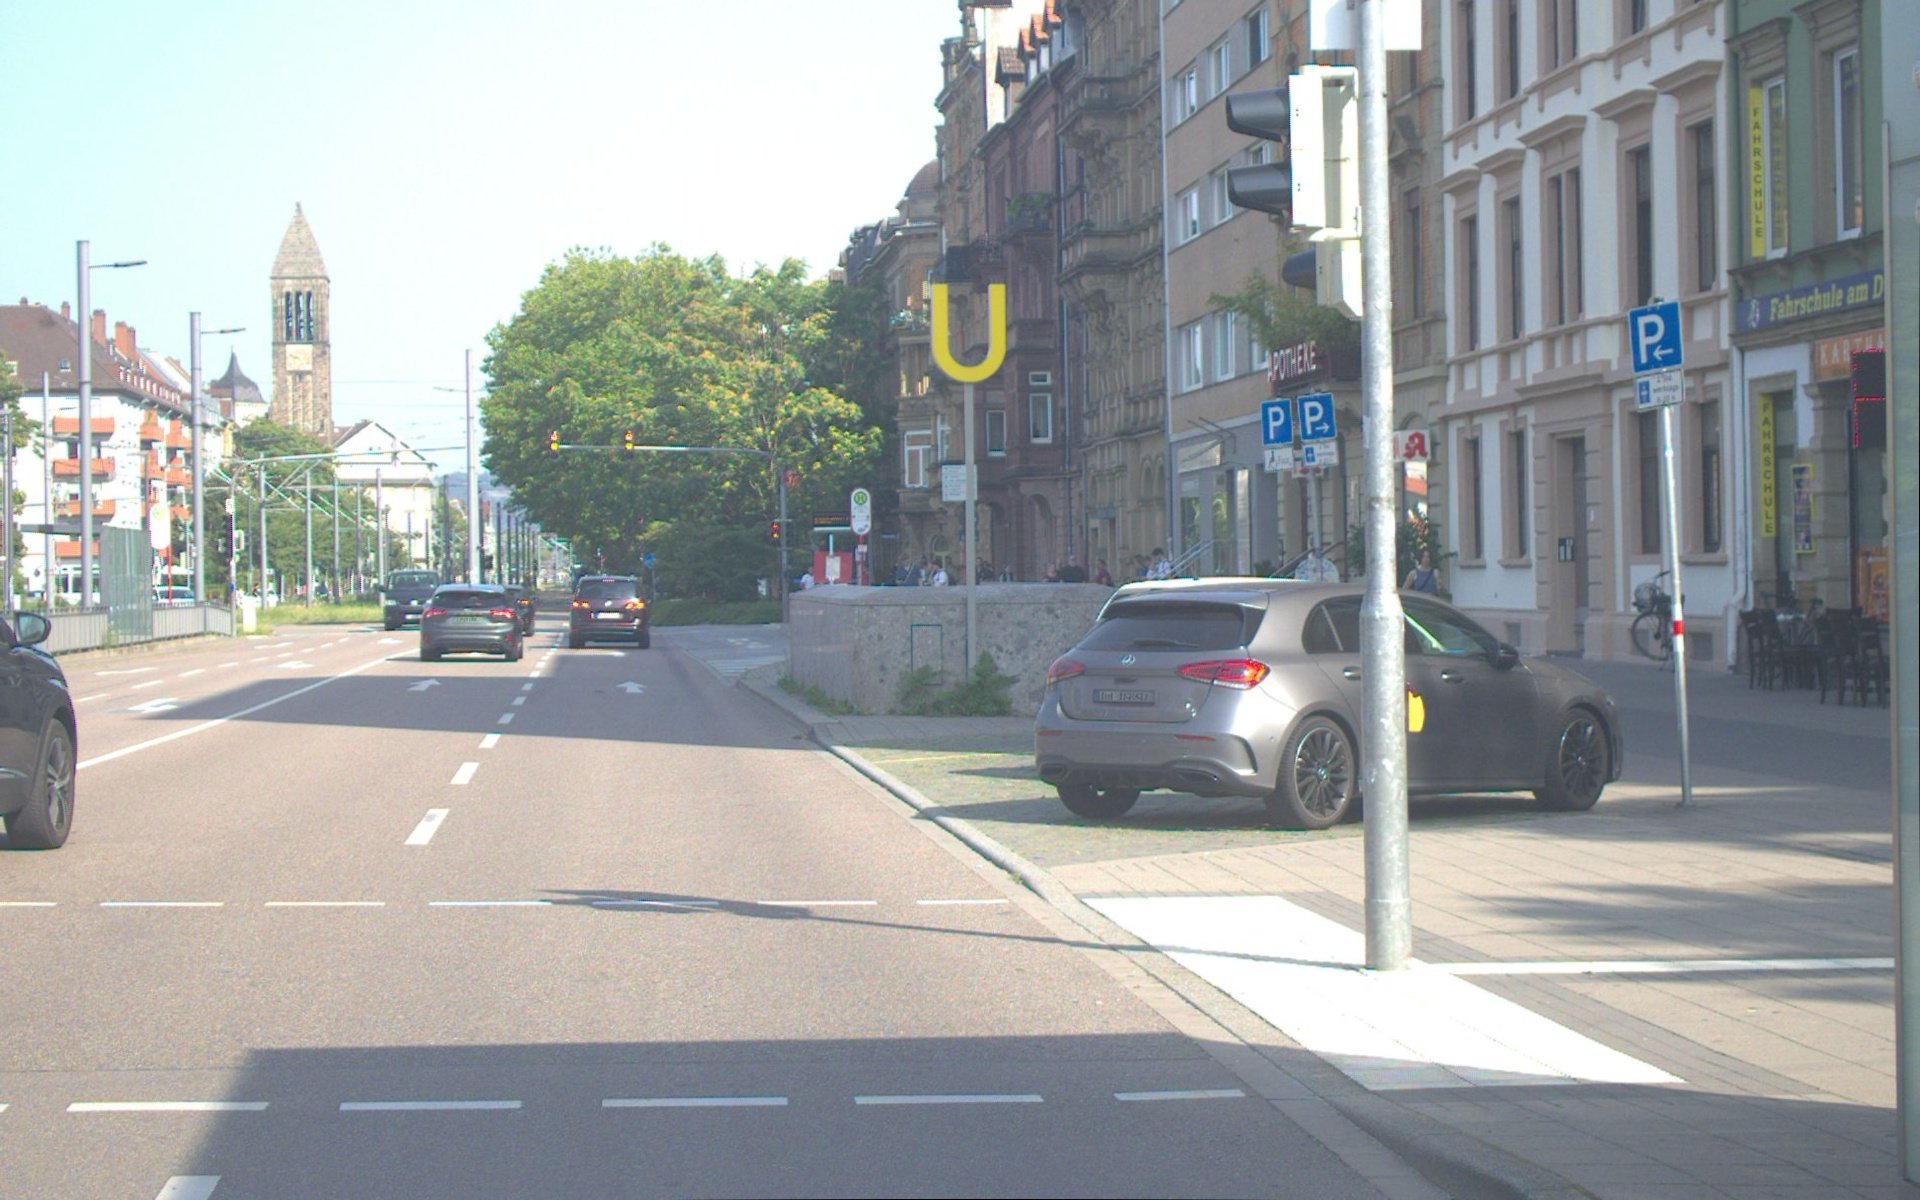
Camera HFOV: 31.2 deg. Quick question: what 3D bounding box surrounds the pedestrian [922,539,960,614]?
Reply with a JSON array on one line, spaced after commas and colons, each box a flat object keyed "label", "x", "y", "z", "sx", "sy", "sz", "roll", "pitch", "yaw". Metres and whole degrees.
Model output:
[{"label": "pedestrian", "x": -0.451, "y": -0.555, "z": 79.887, "sx": 0.749, "sy": 1.723, "sz": 0.801, "roll": -1, "pitch": 1, "yaw": -9}]

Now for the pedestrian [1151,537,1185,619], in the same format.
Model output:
[{"label": "pedestrian", "x": 4.698, "y": -0.505, "z": 77.779, "sx": 0.603, "sy": 1.825, "sz": 0.742, "roll": -1, "pitch": 1, "yaw": -9}]

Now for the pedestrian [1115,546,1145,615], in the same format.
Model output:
[{"label": "pedestrian", "x": 4.190, "y": -0.475, "z": 84.606, "sx": 0.603, "sy": 1.686, "sz": 0.587, "roll": -1, "pitch": 1, "yaw": -9}]

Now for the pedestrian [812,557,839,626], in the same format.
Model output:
[{"label": "pedestrian", "x": -3.369, "y": -0.217, "z": 86.013, "sx": 0.564, "sy": 1.723, "sz": 0.745, "roll": -1, "pitch": 1, "yaw": -9}]

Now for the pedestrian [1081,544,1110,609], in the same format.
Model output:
[{"label": "pedestrian", "x": 3.448, "y": -0.598, "z": 87.374, "sx": 0.603, "sy": 1.649, "sz": 0.587, "roll": -1, "pitch": 1, "yaw": -9}]

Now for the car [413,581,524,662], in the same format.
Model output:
[{"label": "car", "x": -9.210, "y": 0.381, "z": 64.630, "sx": 1.863, "sy": 1.419, "sz": 4.358, "roll": 1, "pitch": 1, "yaw": -6}]

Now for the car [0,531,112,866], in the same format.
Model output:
[{"label": "car", "x": -5.631, "y": 0.490, "z": 16.575, "sx": 1.993, "sy": 1.615, "sz": 4.357, "roll": -1, "pitch": 1, "yaw": 0}]

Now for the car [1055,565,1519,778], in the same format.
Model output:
[{"label": "car", "x": 2.472, "y": 0.480, "z": 25.484, "sx": 1.622, "sy": 1.459, "sz": 3.519, "roll": 0, "pitch": 0, "yaw": 43}]

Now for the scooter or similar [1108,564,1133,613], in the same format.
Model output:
[{"label": "scooter or similar", "x": 3.853, "y": -0.287, "z": 82.605, "sx": 0.360, "sy": 1.159, "sz": 1.152, "roll": -1, "pitch": 1, "yaw": -8}]

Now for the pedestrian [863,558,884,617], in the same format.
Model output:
[{"label": "pedestrian", "x": -2.517, "y": -0.371, "z": 99.773, "sx": 0.481, "sy": 1.696, "sz": 0.703, "roll": -1, "pitch": 1, "yaw": -9}]

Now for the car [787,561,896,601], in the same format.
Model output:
[{"label": "car", "x": -4.863, "y": -0.798, "z": 140.722, "sx": 4.179, "sy": 1.558, "sz": 2.001, "roll": -1, "pitch": 1, "yaw": -10}]

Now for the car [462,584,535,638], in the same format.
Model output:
[{"label": "car", "x": -12.877, "y": 0.289, "z": 96.150, "sx": 1.863, "sy": 1.419, "sz": 4.358, "roll": 1, "pitch": 1, "yaw": -6}]

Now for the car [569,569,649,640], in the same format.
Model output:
[{"label": "car", "x": -8.288, "y": 0.080, "z": 81.295, "sx": 1.831, "sy": 1.615, "sz": 4.358, "roll": 1, "pitch": 1, "yaw": -6}]

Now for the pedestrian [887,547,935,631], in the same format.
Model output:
[{"label": "pedestrian", "x": -1.090, "y": -0.249, "z": 76.470, "sx": 0.925, "sy": 1.825, "sz": 0.801, "roll": -1, "pitch": 1, "yaw": -9}]

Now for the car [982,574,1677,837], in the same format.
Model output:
[{"label": "car", "x": 2.348, "y": 0.567, "z": 21.014, "sx": 4.397, "sy": 1.418, "sz": 1.847, "roll": -1, "pitch": 0, "yaw": -45}]

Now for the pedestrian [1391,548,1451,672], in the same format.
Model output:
[{"label": "pedestrian", "x": 6.095, "y": 0.127, "z": 45.440, "sx": 0.608, "sy": 1.623, "sz": 0.737, "roll": -1, "pitch": 0, "yaw": -5}]

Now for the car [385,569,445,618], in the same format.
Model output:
[{"label": "car", "x": -17.600, "y": -0.225, "z": 111.195, "sx": 1.740, "sy": 1.521, "sz": 3.874, "roll": -1, "pitch": 1, "yaw": -7}]

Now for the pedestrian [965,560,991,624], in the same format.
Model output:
[{"label": "pedestrian", "x": 0.507, "y": -0.226, "z": 97.039, "sx": 0.617, "sy": 1.798, "sz": 1.072, "roll": -1, "pitch": 0, "yaw": -5}]

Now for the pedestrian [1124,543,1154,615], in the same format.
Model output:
[{"label": "pedestrian", "x": 4.362, "y": -0.510, "z": 83.855, "sx": 0.603, "sy": 1.725, "sz": 0.511, "roll": -1, "pitch": 1, "yaw": -9}]

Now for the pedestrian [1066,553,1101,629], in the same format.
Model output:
[{"label": "pedestrian", "x": 2.932, "y": -0.207, "z": 81.648, "sx": 0.720, "sy": 1.781, "sz": 0.856, "roll": -1, "pitch": 0, "yaw": -5}]

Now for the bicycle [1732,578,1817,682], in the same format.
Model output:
[{"label": "bicycle", "x": 9.158, "y": 0.325, "z": 38.717, "sx": 0.383, "sy": 1.130, "sz": 1.720, "roll": -1, "pitch": 1, "yaw": -5}]

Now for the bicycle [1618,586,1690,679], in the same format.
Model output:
[{"label": "bicycle", "x": 8.726, "y": 0.397, "z": 43.273, "sx": 0.383, "sy": 1.130, "sz": 1.720, "roll": -1, "pitch": 1, "yaw": -5}]

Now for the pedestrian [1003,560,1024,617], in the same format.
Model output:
[{"label": "pedestrian", "x": 1.510, "y": -0.328, "z": 97.452, "sx": 0.486, "sy": 1.605, "sz": 0.813, "roll": -1, "pitch": 0, "yaw": -5}]

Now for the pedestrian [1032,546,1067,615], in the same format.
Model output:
[{"label": "pedestrian", "x": 2.131, "y": -0.461, "z": 81.541, "sx": 0.720, "sy": 1.605, "sz": 0.856, "roll": -1, "pitch": 0, "yaw": -5}]
